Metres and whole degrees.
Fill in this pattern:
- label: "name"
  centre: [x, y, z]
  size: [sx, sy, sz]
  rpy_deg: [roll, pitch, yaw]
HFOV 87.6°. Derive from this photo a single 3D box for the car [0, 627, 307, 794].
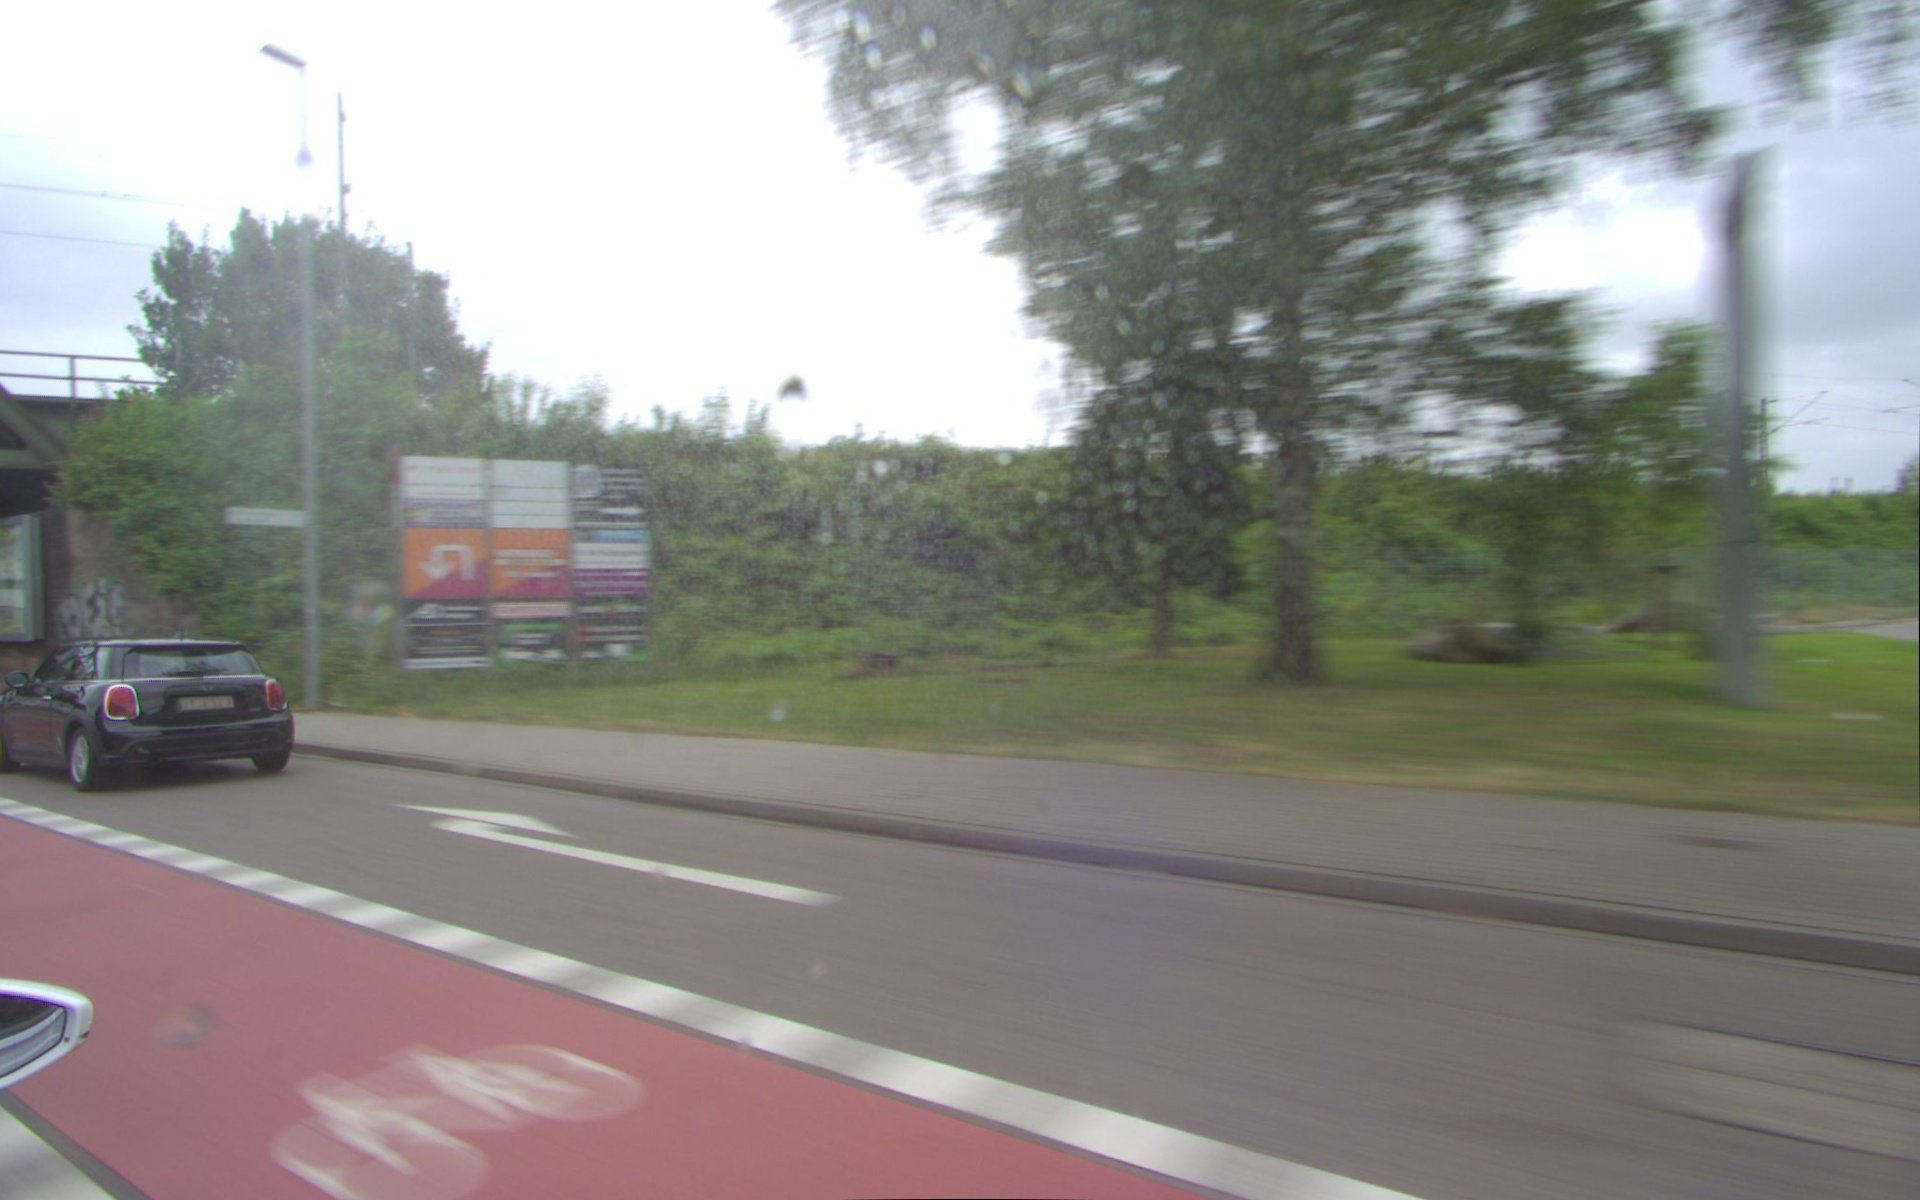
- label: "car"
  centre: [-8.686, 1.017, 10.551]
  size: [3.721, 1.450, 1.676]
  rpy_deg: [-1, -1, 33]
